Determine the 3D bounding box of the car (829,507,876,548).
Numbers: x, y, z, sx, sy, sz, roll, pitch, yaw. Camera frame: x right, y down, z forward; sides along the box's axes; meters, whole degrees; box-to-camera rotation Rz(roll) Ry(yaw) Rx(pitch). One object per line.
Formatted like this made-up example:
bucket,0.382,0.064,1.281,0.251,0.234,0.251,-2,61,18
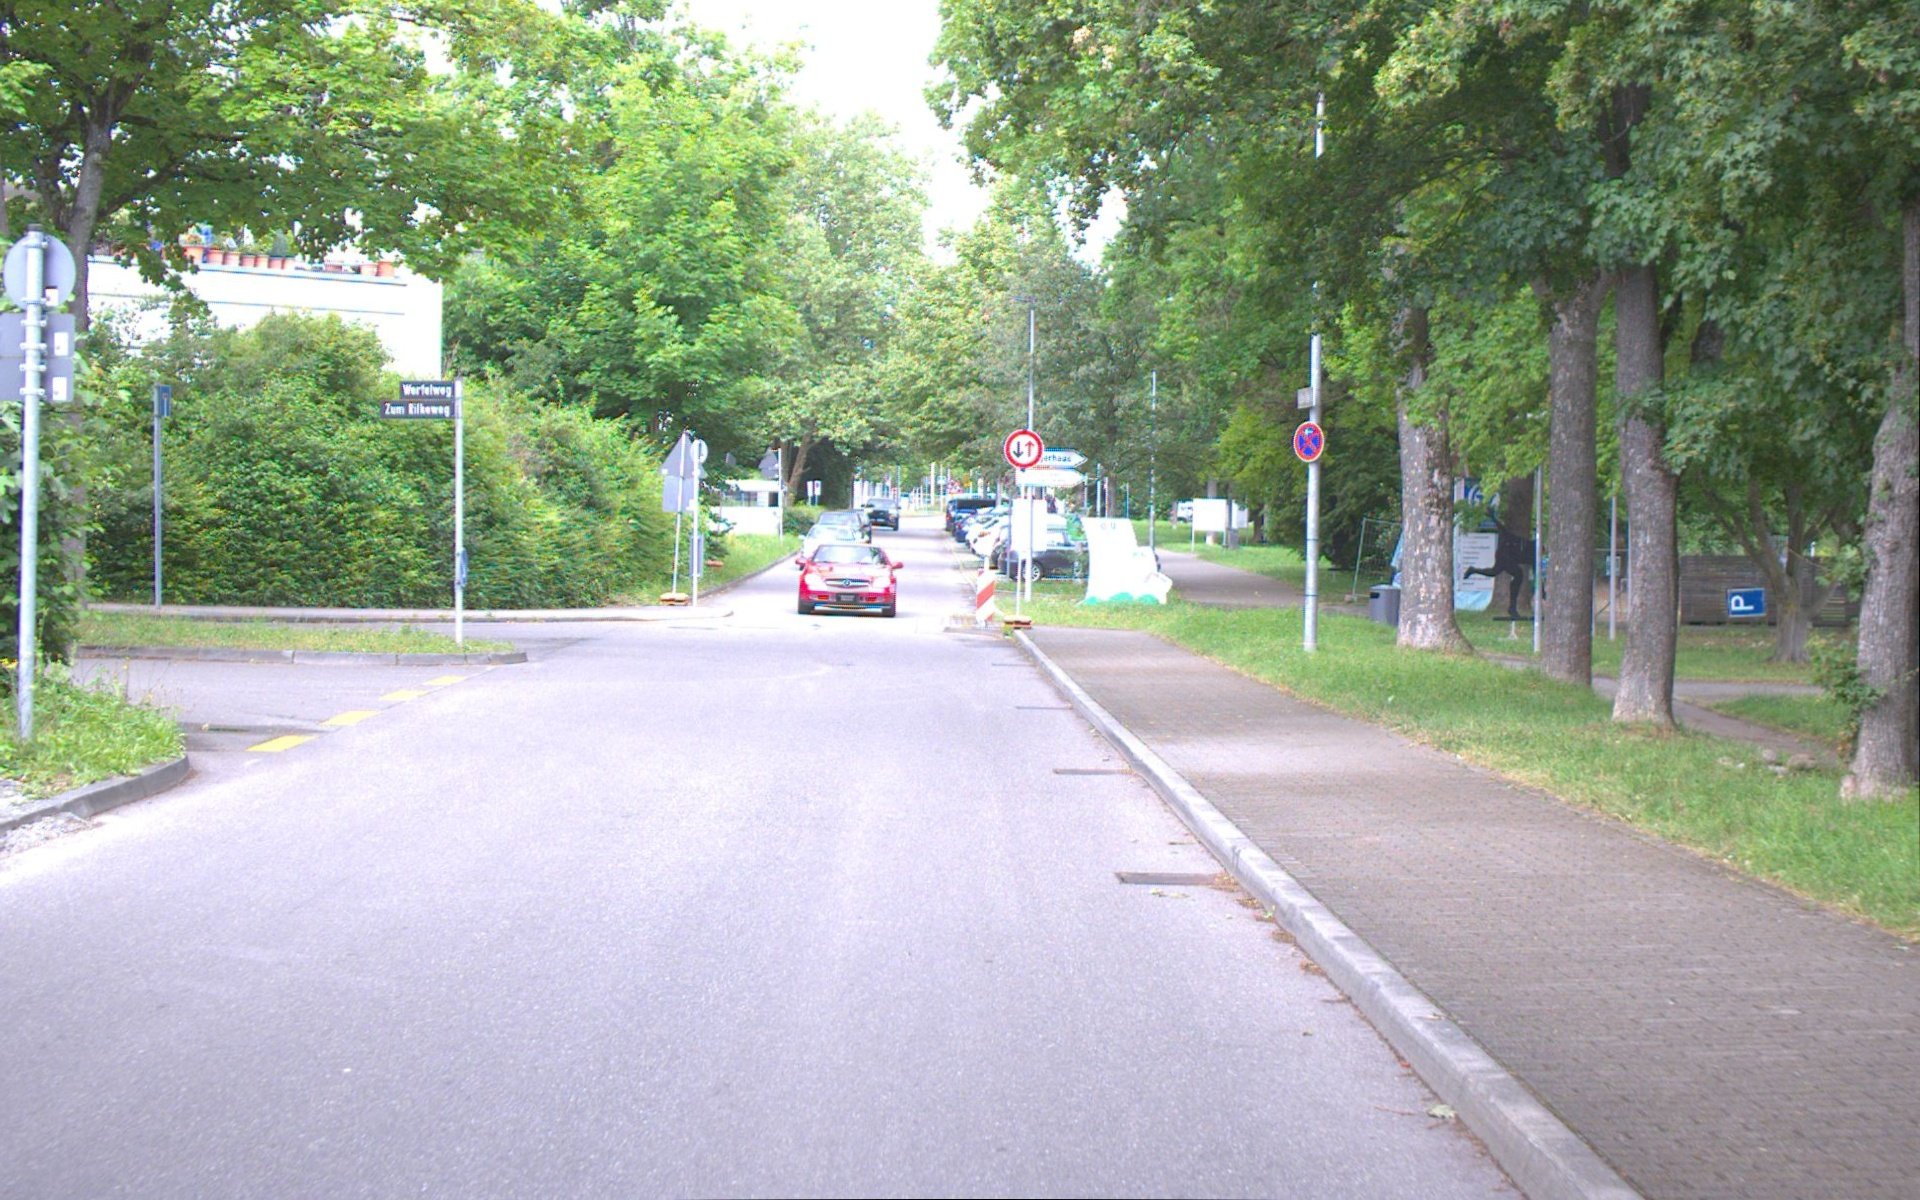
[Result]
car,-4.312,-2.924,138.262,1.803,1.586,4.296,2,1,-1

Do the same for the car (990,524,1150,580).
car,2.833,-1.228,89.225,4.062,1.429,2.000,0,0,-1

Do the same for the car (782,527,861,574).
car,-4.020,-1.461,100.302,1.781,1.302,4.295,2,1,4

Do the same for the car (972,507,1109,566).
car,2.492,-1.981,106.925,4.062,1.681,1.823,-2,2,-4

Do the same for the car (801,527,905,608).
car,-1.925,-0.598,61.585,1.750,1.331,4.066,2,1,-2

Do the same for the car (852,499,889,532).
car,-4.931,-4.666,189.189,1.968,1.741,4.339,2,1,-2

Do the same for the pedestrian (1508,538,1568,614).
pedestrian,12.805,-0.517,76.182,1.149,1.669,0.792,0,0,25
